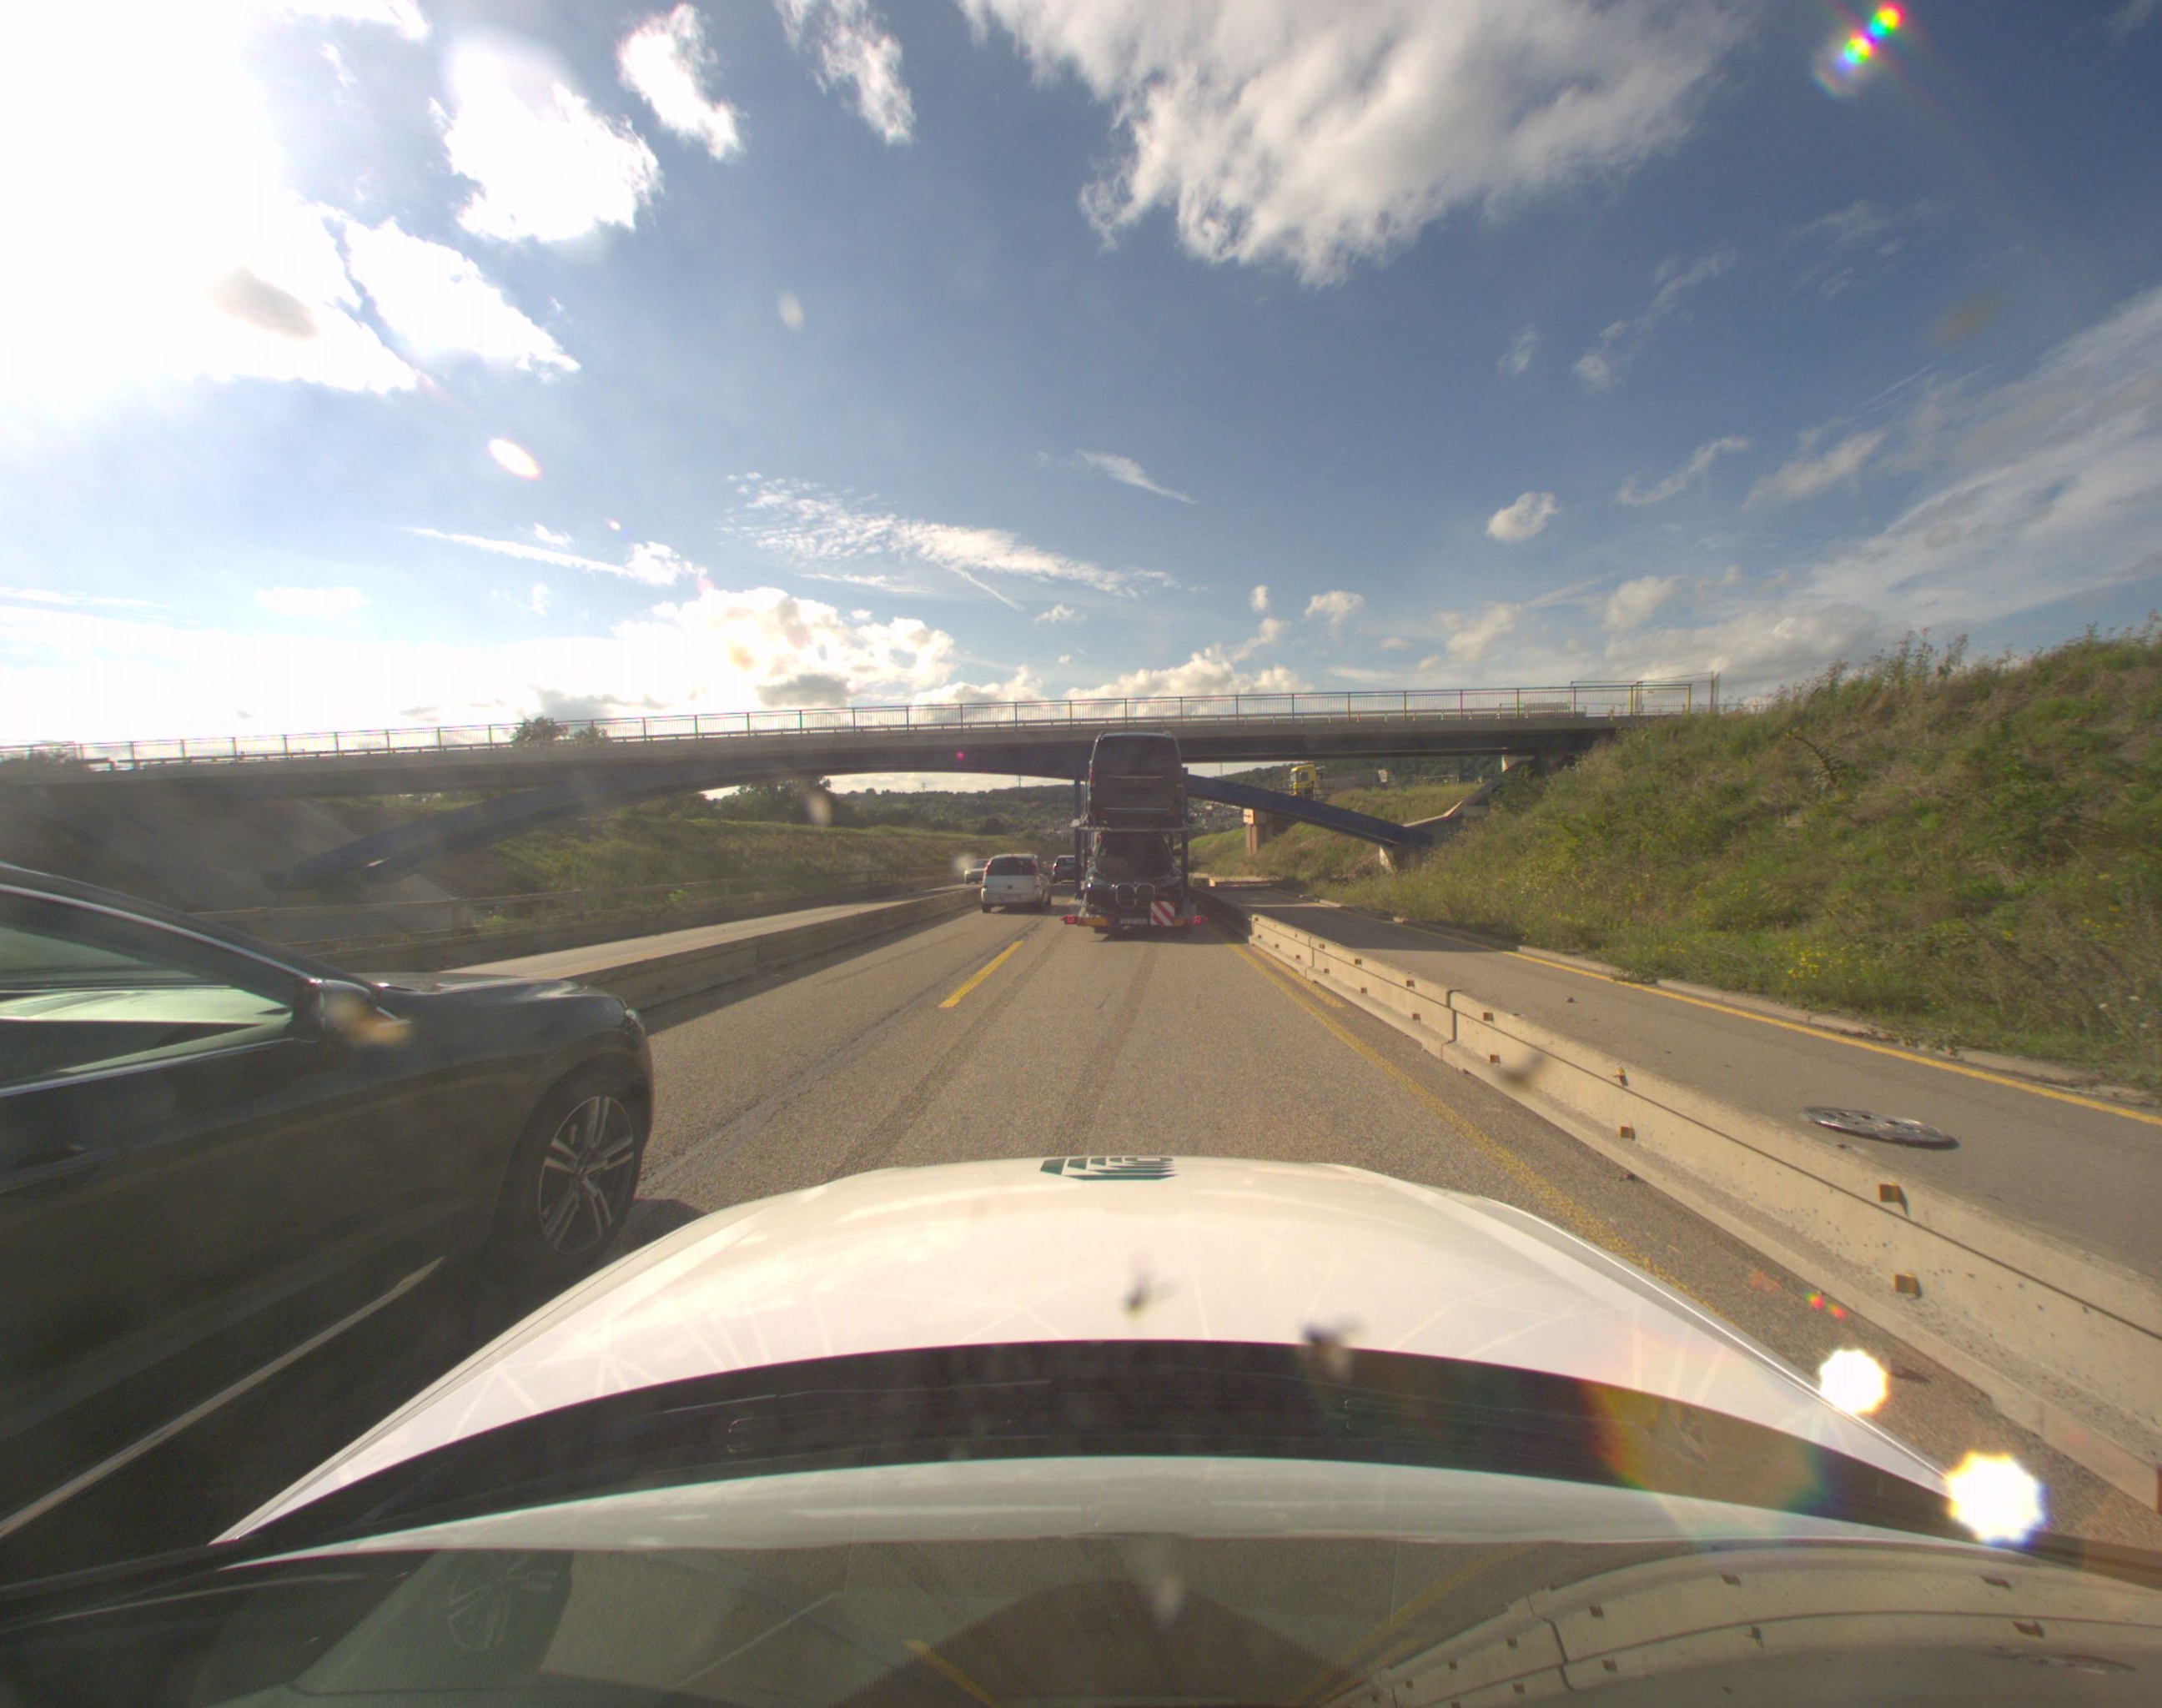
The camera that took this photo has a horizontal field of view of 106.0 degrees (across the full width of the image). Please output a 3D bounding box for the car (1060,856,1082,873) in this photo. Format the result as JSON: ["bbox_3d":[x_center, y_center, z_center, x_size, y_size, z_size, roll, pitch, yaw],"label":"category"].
[{"bbox_3d":[-0.992,1.020,80.575,1.816,1.563,4.221,-4,0,3],"label":"car"}]

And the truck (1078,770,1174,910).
[{"bbox_3d":[1.447,-0.392,26.108,2.667,3.922,6.032,-1,0,3],"label":"truck"}]

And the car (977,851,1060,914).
[{"bbox_3d":[-1.693,0.732,23.737,1.789,1.596,4.746,-2,0,3],"label":"car"}]

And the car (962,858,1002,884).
[{"bbox_3d":[-6.454,1.070,53.320,1.816,1.492,4.221,-4,0,3],"label":"car"}]

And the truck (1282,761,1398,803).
[{"bbox_3d":[22.731,-6.309,71.800,9.225,3.228,2.962,-1,0,3],"label":"truck"}]

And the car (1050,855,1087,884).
[{"bbox_3d":[-0.663,0.846,46.017,1.789,1.530,4.298,-1,0,3],"label":"car"}]

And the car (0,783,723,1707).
[{"bbox_3d":[-2.826,0.712,1.567,1.986,1.625,4.752,-1,0,2],"label":"car"}]

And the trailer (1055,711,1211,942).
[{"bbox_3d":[1.170,-0.458,20.126,2.697,4.029,11.426,-1,0,2],"label":"trailer"}]
